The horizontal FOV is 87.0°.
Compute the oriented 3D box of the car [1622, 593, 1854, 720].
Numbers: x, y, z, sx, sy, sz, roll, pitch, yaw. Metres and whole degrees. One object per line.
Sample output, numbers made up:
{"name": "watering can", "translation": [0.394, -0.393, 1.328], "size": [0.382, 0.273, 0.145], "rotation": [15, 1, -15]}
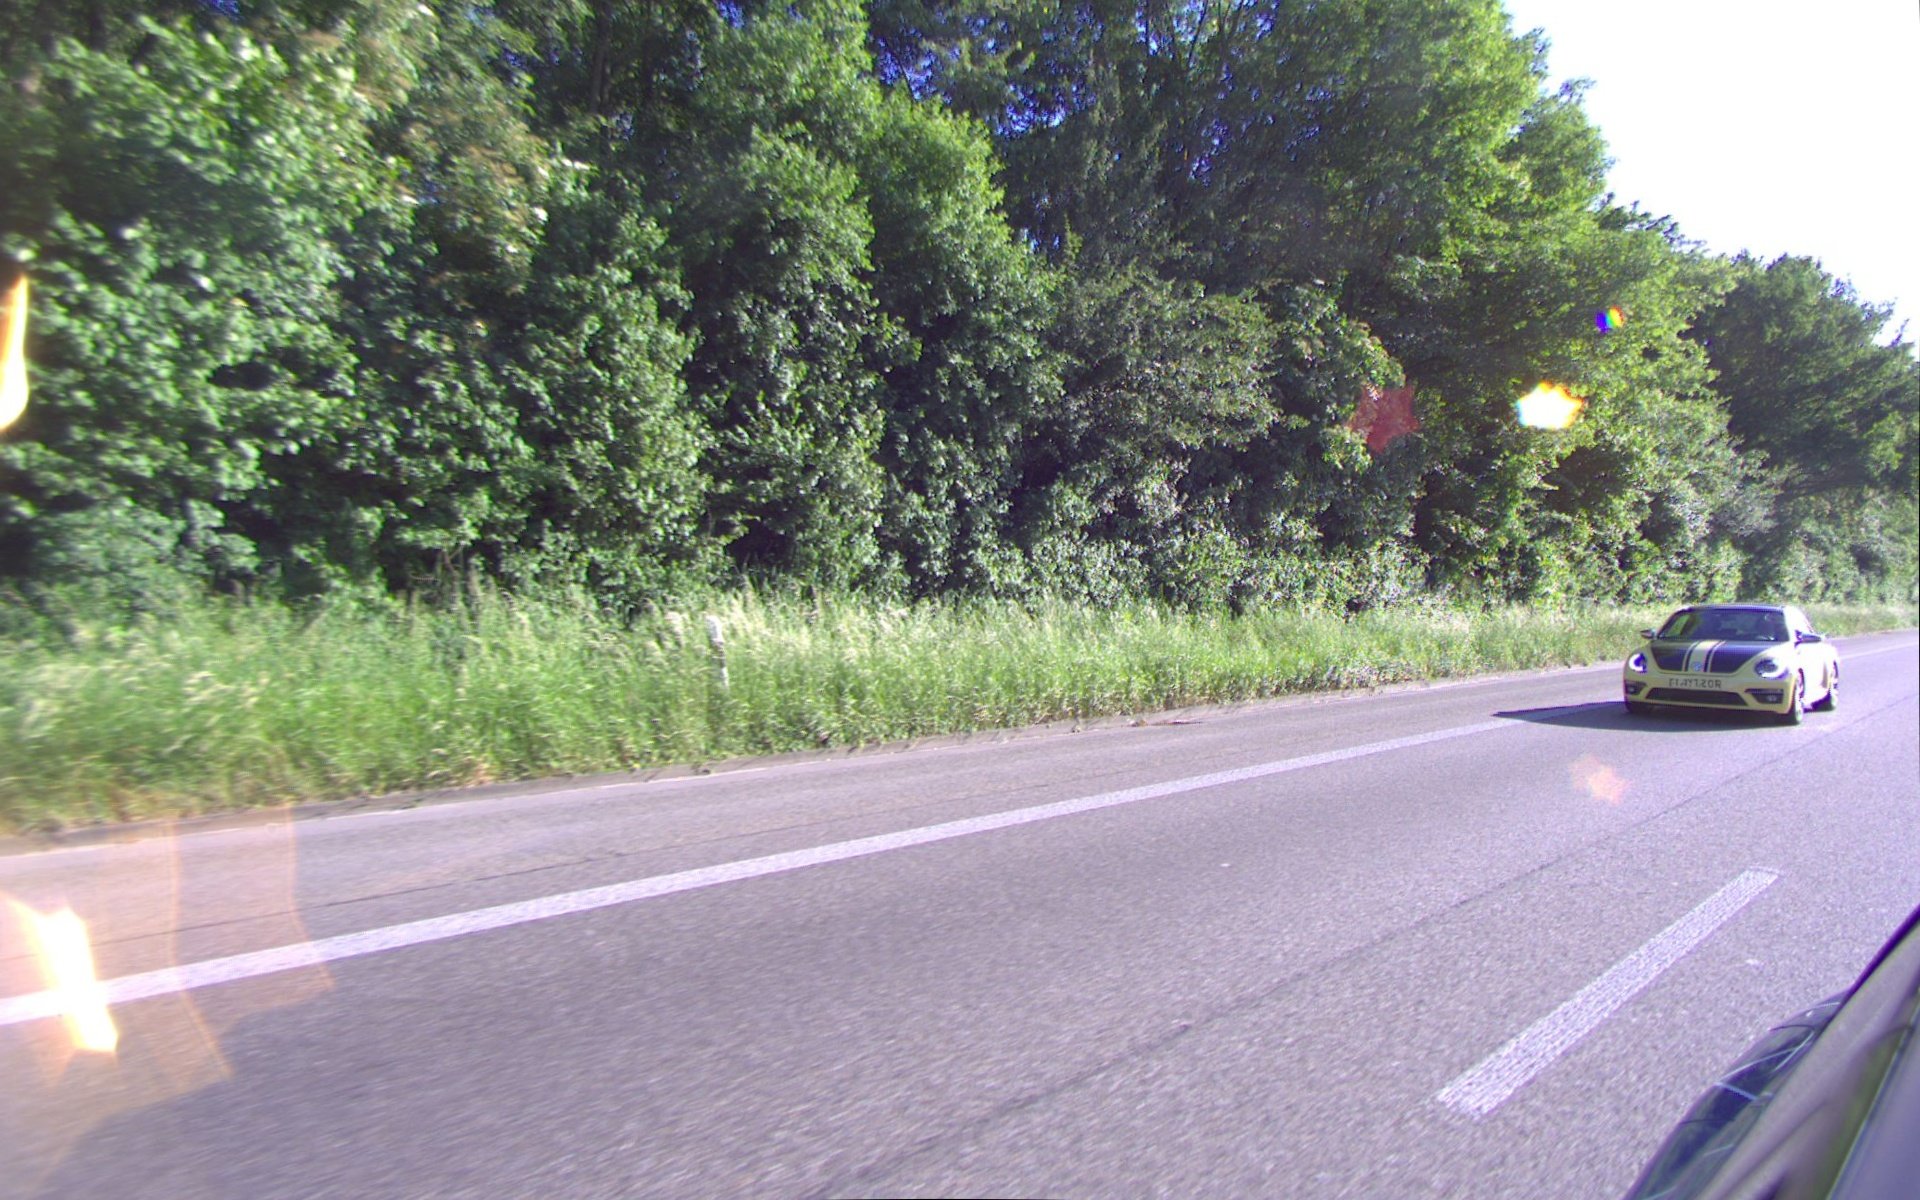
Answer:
{"name": "car", "translation": [10.565, 0.645, 13.655], "size": [3.810, 1.467, 1.793], "rotation": [0, 0, -41]}
